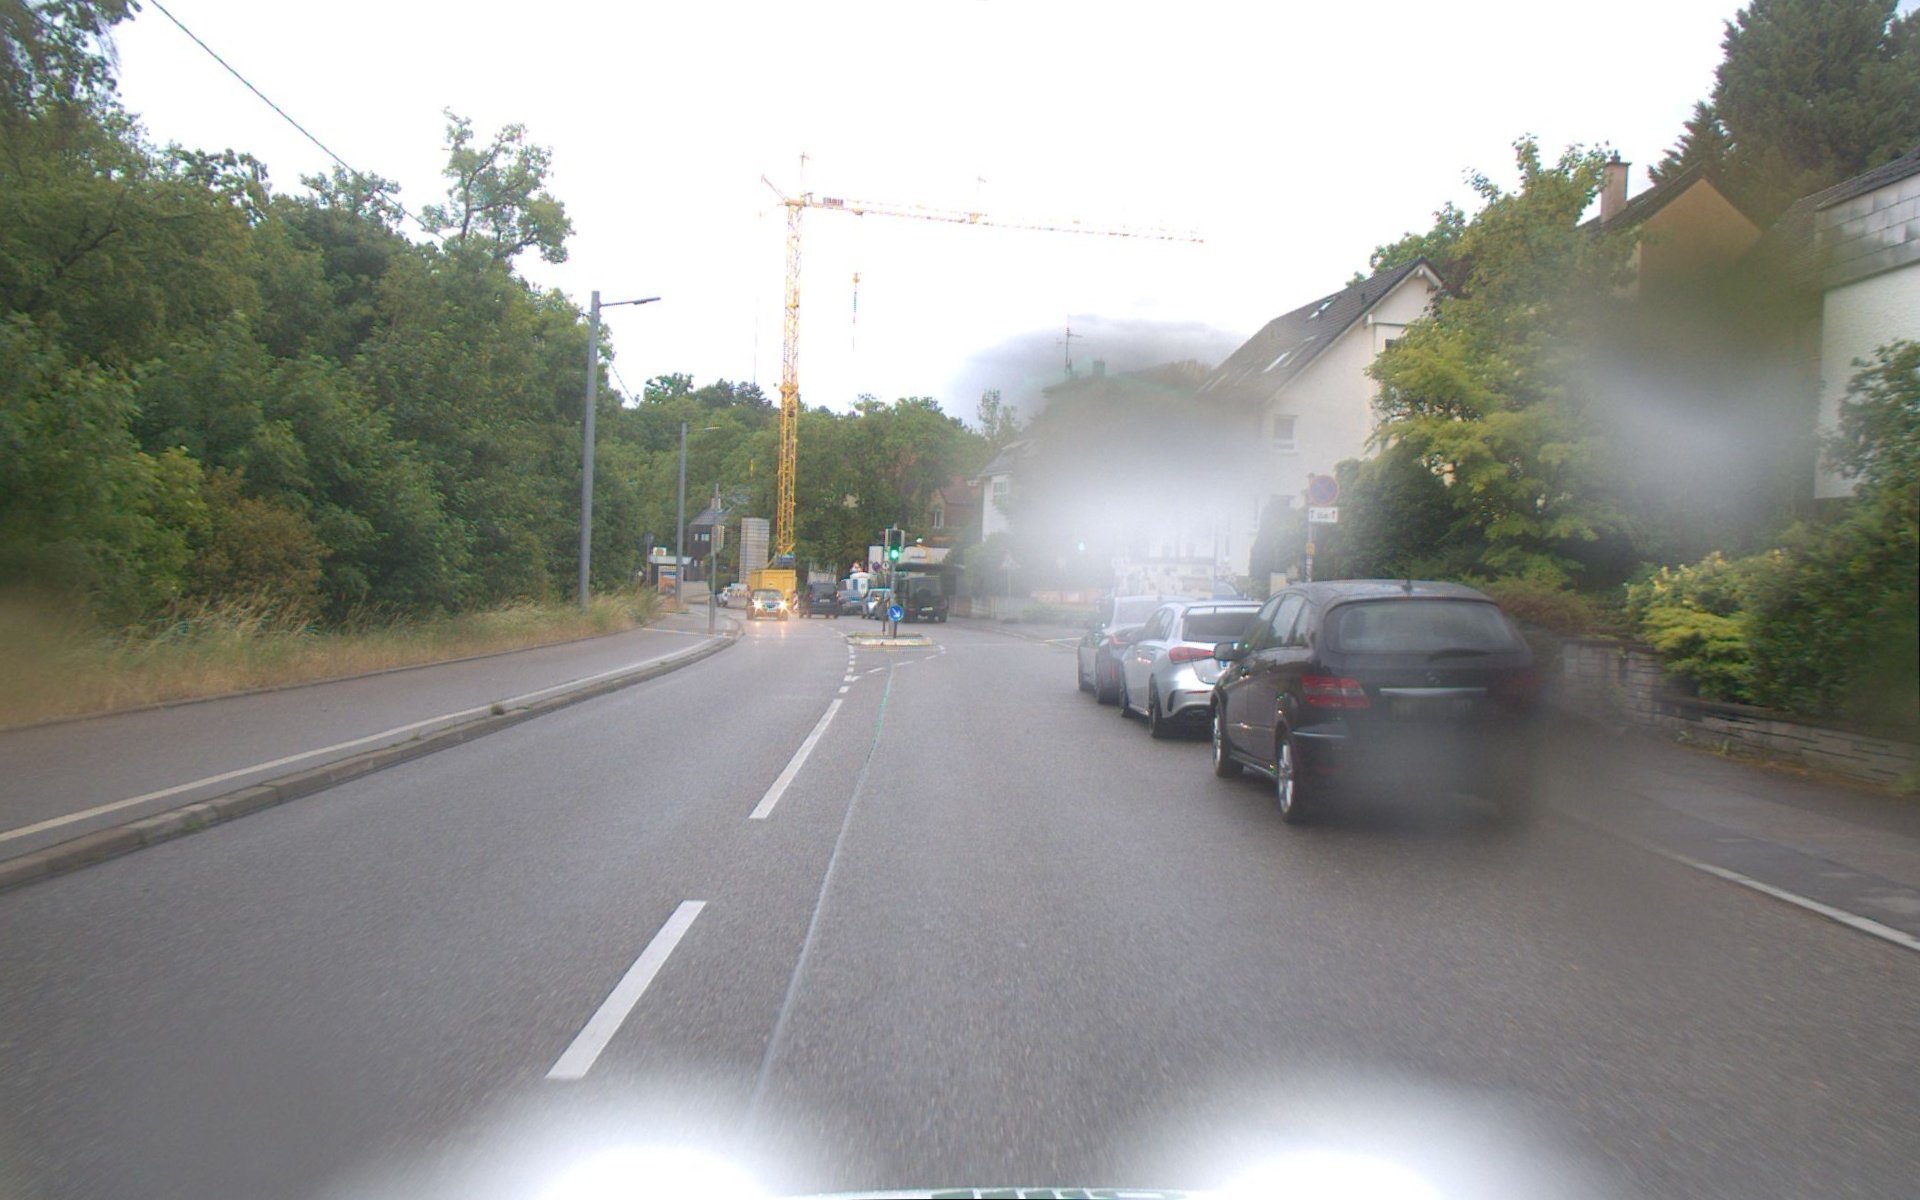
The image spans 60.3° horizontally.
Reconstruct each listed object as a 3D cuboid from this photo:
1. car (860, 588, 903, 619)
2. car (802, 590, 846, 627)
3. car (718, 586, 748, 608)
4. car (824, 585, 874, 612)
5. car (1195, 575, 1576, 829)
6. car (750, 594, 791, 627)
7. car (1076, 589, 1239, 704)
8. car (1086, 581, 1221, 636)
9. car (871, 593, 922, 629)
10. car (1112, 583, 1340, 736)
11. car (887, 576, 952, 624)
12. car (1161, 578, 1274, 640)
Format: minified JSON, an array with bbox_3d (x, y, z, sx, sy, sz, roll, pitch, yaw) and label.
[{"bbox_3d":[-3.951,0.169,83.044,1.644,1.483,3.375,0,0,-12],"label":"car"},{"bbox_3d":[-7.050,0.409,85.352,1.897,1.782,3.991,1,1,-10],"label":"car"},{"bbox_3d":[-18.939,-0.280,137.632,1.718,1.735,4.479,-1,1,-18],"label":"car"},{"bbox_3d":[-6.516,-0.126,96.768,1.901,1.447,4.815,2,0,-17],"label":"car"},{"bbox_3d":[3.003,0.617,12.667,1.695,1.595,4.521,0,1,-1],"label":"car"},{"bbox_3d":[-8.882,0.490,77.616,1.709,1.485,4.410,1,0,-4],"label":"car"},{"bbox_3d":[2.736,0.622,23.874,1.716,1.468,4.599,1,0,-1],"label":"car"},{"bbox_3d":[6.758,0.309,58.028,4.249,1.624,1.988,4,-1,-10],"label":"car"},{"bbox_3d":[-3.049,0.512,78.565,1.896,1.624,4.384,-1,0,-10],"label":"car"},{"bbox_3d":[2.884,0.627,18.873,1.757,1.513,4.493,1,-1,-2],"label":"car"},{"bbox_3d":[-1.844,-0.021,73.653,1.959,2.049,4.941,-1,0,-13],"label":"car"},{"bbox_3d":[7.490,0.267,48.607,1.897,1.624,4.331,4,-1,-10],"label":"car"}]
